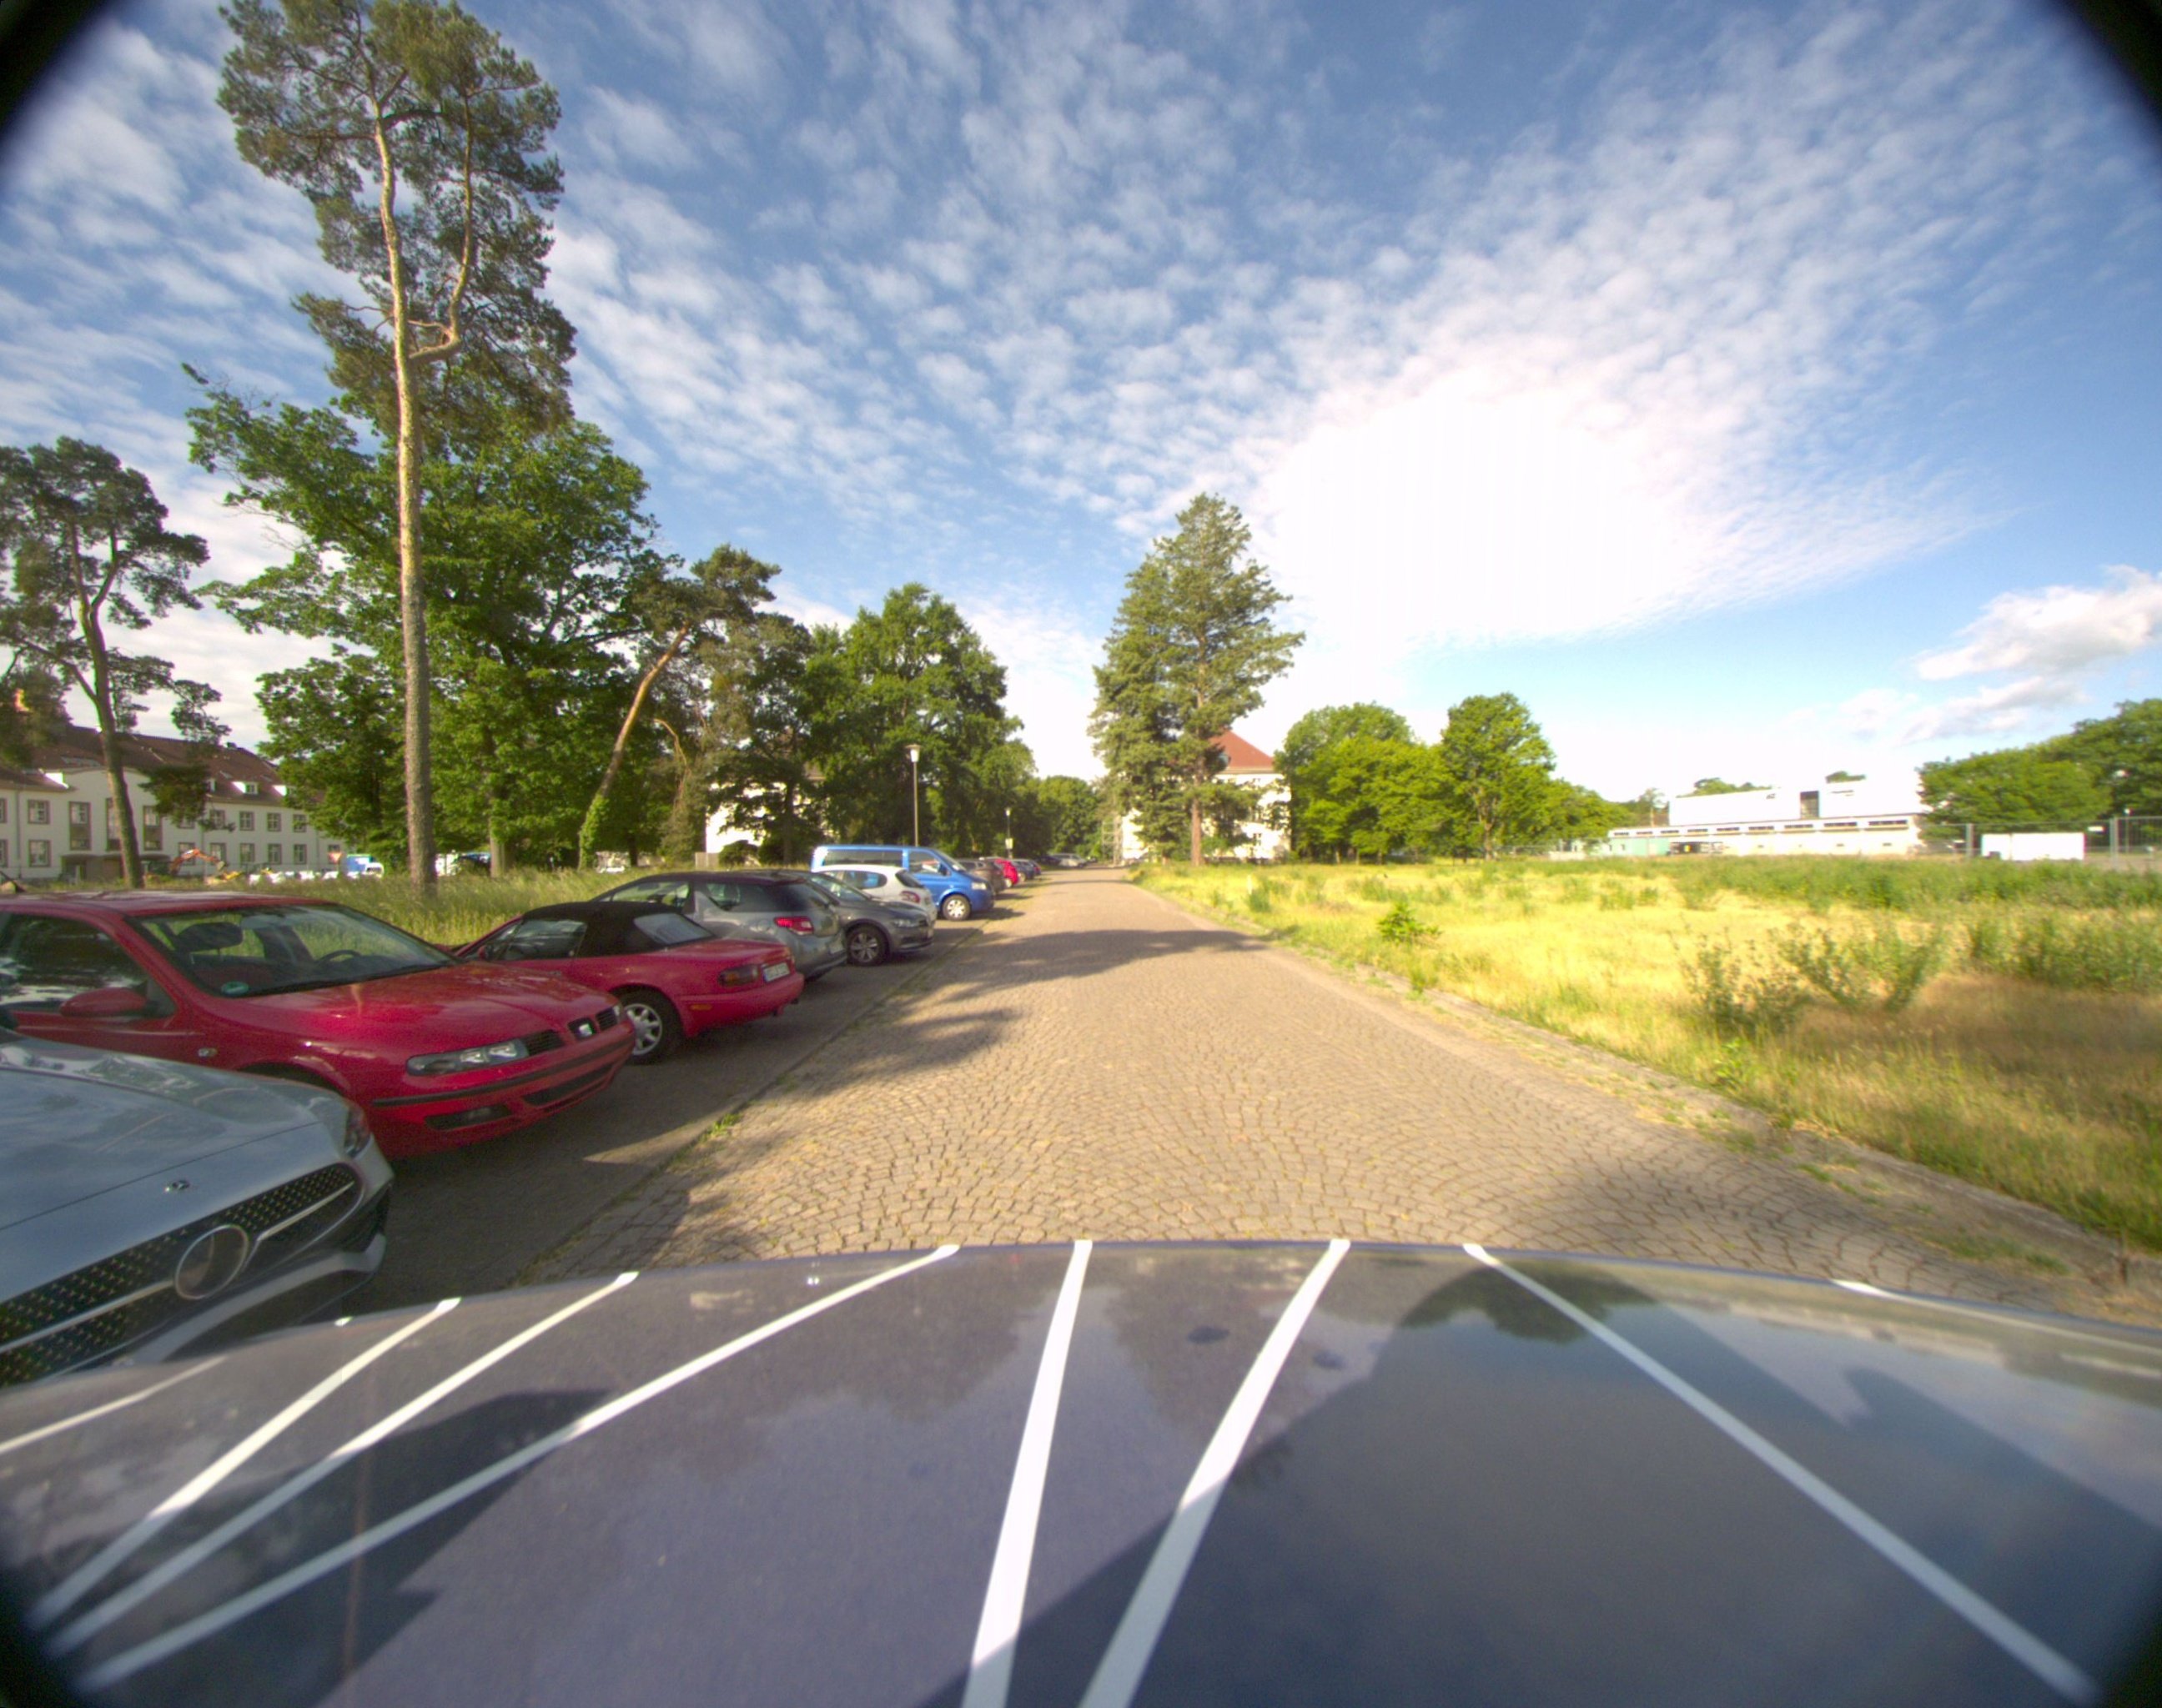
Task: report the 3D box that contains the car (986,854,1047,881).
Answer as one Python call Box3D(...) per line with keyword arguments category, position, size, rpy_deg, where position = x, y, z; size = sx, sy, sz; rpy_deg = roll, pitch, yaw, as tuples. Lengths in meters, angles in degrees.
Box3D(category="car", position=(-4.589, 0.953, 54.550), size=(3.996, 1.605, 1.757), rpy_deg=(-4, 1, 4))

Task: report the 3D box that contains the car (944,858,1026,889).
Box3D(category="car", position=(-4.965, 0.993, 39.596), size=(3.996, 1.509, 1.757), rpy_deg=(-1, 1, 3))

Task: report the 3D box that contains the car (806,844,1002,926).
Box3D(category="car", position=(-4.604, 0.787, 20.299), size=(4.726, 2.002, 2.000), rpy_deg=(-1, 1, 1))

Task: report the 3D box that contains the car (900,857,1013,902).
Box3D(category="car", position=(-4.723, 0.951, 29.236), size=(3.996, 1.630, 1.757), rpy_deg=(-1, 1, 3))

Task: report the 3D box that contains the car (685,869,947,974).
Box3D(category="car", position=(-4.130, 1.021, 12.062), size=(3.621, 1.482, 1.509), rpy_deg=(-1, 1, 10))

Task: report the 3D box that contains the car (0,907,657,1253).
Box3D(category="car", position=(-4.750, 1.055, 4.153), size=(3.918, 1.385, 1.661), rpy_deg=(0, 1, -1))

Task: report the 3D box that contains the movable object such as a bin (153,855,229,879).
Box3D(category="movable object such as a bin", position=(-90.788, 1.284, 77.634), size=(1.999, 2.309, 4.985), rpy_deg=(-1, 0, -3))

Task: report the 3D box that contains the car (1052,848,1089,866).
Box3D(category="car", position=(-1.413, 0.385, 103.237), size=(5.068, 2.251, 2.000), rpy_deg=(-1, 1, 0))

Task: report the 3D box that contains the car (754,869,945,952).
Box3D(category="car", position=(-4.456, 1.067, 14.914), size=(3.264, 1.482, 1.449), rpy_deg=(-1, 1, 2))

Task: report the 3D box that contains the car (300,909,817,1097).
Box3D(category="car", position=(-4.174, 1.175, 6.435), size=(3.357, 1.248, 1.420), rpy_deg=(-1, 1, -1))

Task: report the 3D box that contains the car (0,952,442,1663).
Box3D(category="car", position=(-4.581, 1.053, 1.879), size=(4.423, 1.394, 1.826), rpy_deg=(1, 0, -1))

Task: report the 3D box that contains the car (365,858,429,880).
Box3D(category="car", position=(-68.679, 1.481, 76.380), size=(1.998, 2.002, 4.773), rpy_deg=(-1, 0, 1))

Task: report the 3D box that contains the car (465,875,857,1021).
Box3D(category="car", position=(-4.812, 1.050, 9.088), size=(3.779, 1.482, 1.549), rpy_deg=(-1, 1, -1))

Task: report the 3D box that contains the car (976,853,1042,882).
Box3D(category="car", position=(-4.702, 0.873, 49.782), size=(3.996, 1.731, 1.757), rpy_deg=(-3, 0, 3))
